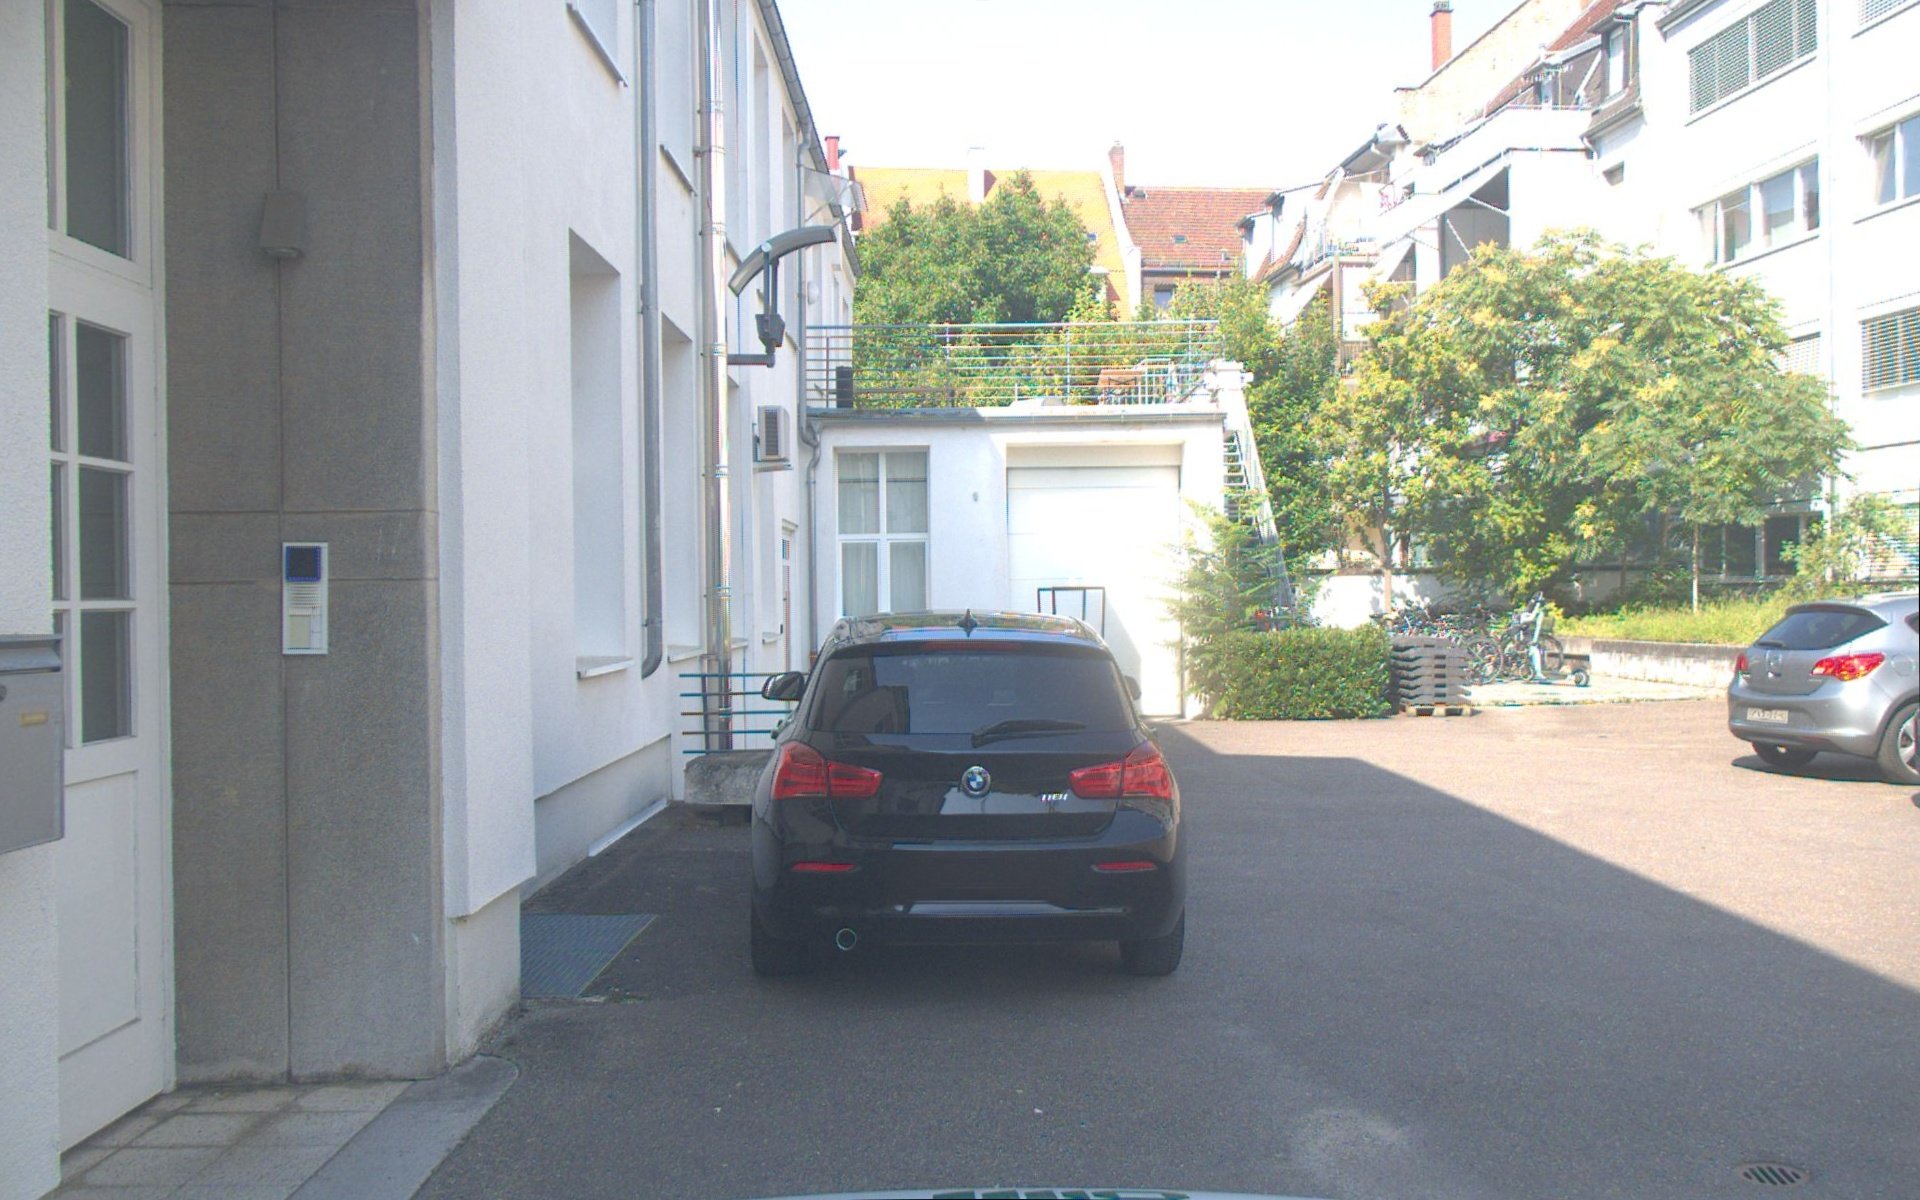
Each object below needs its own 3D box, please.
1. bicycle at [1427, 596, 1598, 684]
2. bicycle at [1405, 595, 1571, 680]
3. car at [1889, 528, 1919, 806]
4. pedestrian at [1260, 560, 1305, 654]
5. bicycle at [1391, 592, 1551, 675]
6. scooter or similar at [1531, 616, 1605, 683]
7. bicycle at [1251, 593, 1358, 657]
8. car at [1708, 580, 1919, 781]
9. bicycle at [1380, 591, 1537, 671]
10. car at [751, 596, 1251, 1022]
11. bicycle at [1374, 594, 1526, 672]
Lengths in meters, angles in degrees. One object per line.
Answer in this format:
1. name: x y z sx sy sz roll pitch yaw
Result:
1. bicycle: 8.155 0.585 24.457 2.361 1.268 0.526 0 0 0
2. bicycle: 8.038 0.565 25.223 2.361 1.268 0.526 0 0 0
3. car: 8.723 0.406 10.927 4.256 1.891 1.910 -1 1 -10
4. pedestrian: 6.270 0.129 32.158 0.598 1.802 0.859 0 0 -8
5. bicycle: 8.021 0.521 25.992 2.361 1.268 0.526 0 0 0
6. scooter or similar: 8.850 0.710 24.098 0.356 0.940 0.986 0 0 -37
7. bicycle: 6.646 0.474 31.940 1.949 1.163 0.489 -2 1 -7
8. car: 8.467 0.577 13.831 3.830 1.491 1.657 -2 1 -14
9. bicycle: 8.006 0.493 26.596 2.361 1.268 0.526 0 0 0
10. car: 0.061 0.725 7.878 1.757 1.453 4.134 0 0 -3
11. bicycle: 8.075 0.536 27.287 2.361 1.268 0.526 0 0 0
